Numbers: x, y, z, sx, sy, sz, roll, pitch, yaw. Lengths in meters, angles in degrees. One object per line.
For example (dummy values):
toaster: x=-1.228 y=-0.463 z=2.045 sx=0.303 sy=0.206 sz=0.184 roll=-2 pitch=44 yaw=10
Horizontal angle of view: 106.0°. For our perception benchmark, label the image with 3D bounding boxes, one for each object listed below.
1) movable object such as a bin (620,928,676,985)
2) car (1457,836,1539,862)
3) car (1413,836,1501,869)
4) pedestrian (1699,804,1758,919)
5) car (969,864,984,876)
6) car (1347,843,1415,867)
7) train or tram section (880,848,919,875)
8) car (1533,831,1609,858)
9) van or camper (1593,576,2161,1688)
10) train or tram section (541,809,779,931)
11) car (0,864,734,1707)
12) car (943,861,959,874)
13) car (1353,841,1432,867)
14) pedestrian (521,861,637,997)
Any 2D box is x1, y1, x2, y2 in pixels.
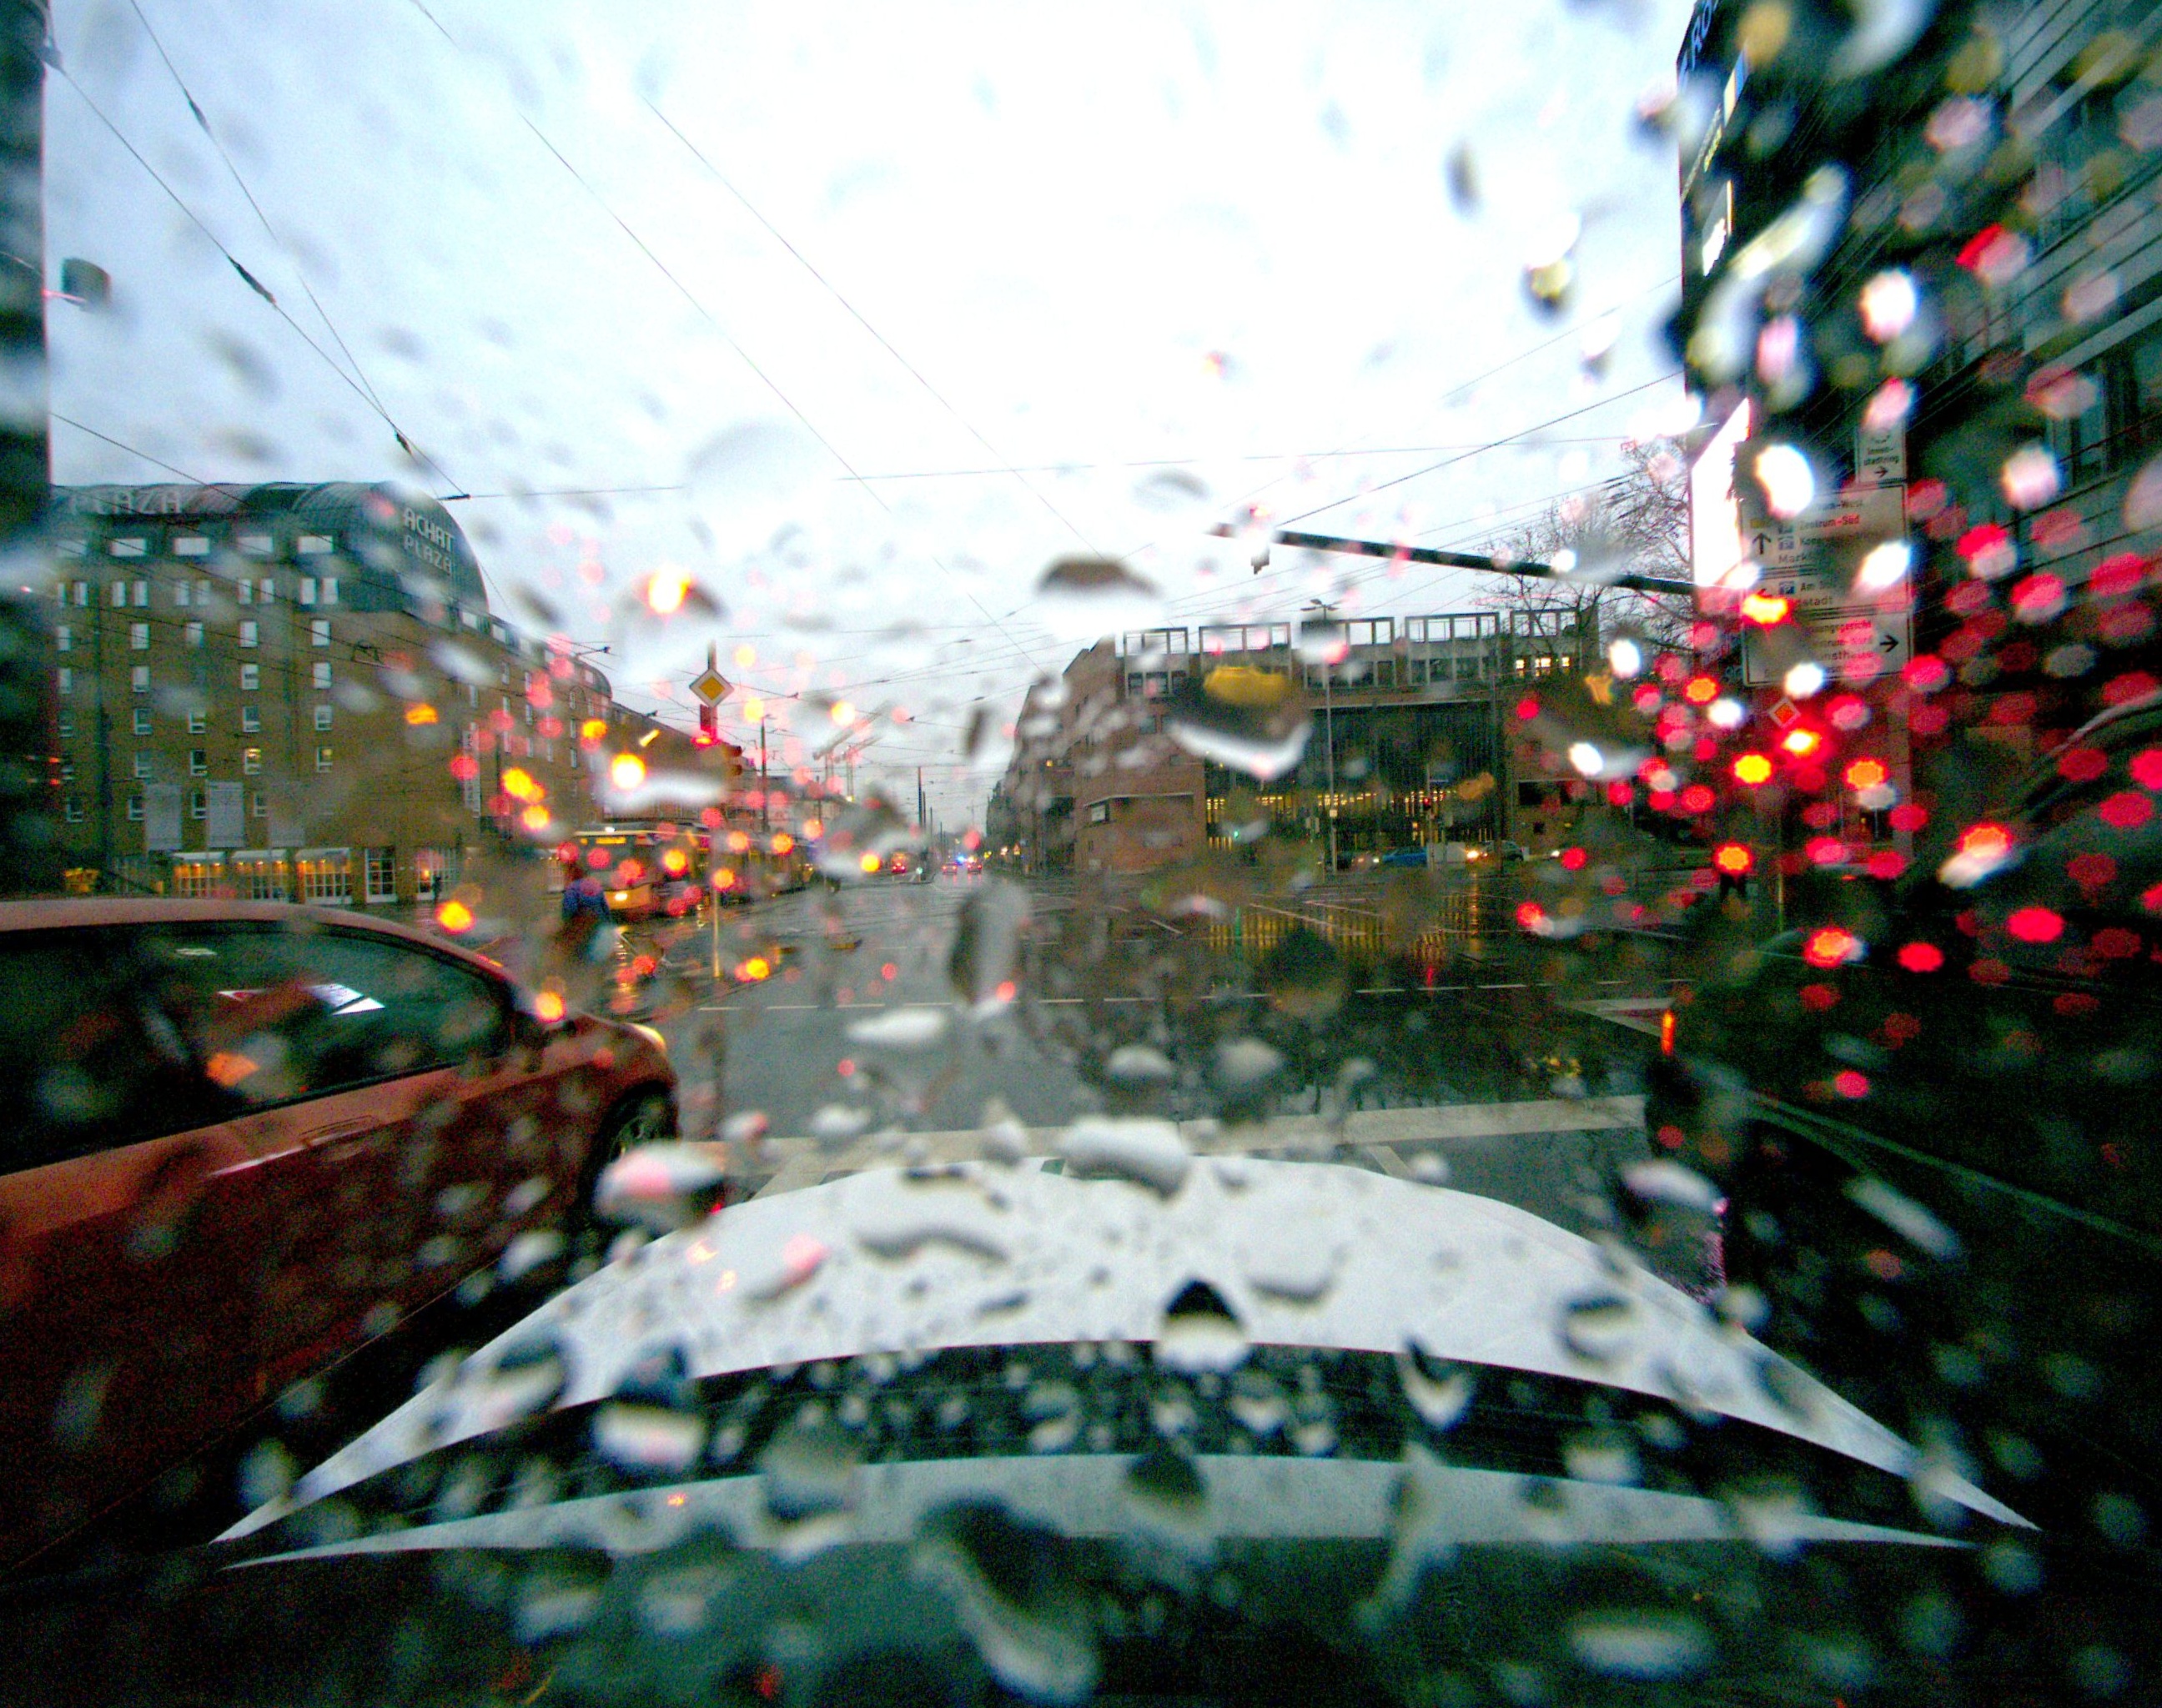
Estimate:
movable object such as a bin: x=-5.878 y=1.381 z=11.055 sx=0.407 sy=0.699 sz=0.541 roll=-5 pitch=-2 yaw=42
car: x=24.834 y=-0.315 z=48.582 sx=3.979 sy=1.288 sz=1.845 roll=-2 pitch=4 yaw=-4
car: x=20.449 y=-0.108 z=44.396 sx=3.979 sy=1.504 sz=1.845 roll=-2 pitch=4 yaw=-4
pedestrian: x=12.589 y=0.140 z=15.848 sx=0.574 sy=2.184 sz=0.619 roll=-1 pitch=-1 yaw=-4
car: x=-14.107 y=2.188 z=109.936 sx=1.868 sy=1.579 sz=3.991 roll=0 pitch=0 yaw=-6
car: x=19.158 y=0.059 z=52.097 sx=3.713 sy=1.263 sz=1.845 roll=-2 pitch=4 yaw=-4
train or tram section: x=-26.597 y=1.067 z=120.688 sx=3.189 sy=3.436 sz=27.753 roll=-2 pitch=0 yaw=-8
car: x=32.172 y=-0.650 z=53.580 sx=3.979 sy=1.504 sz=1.845 roll=-2 pitch=4 yaw=-4
van or camper: x=2.703 y=0.472 z=0.780 sx=1.750 sy=1.906 sz=4.420 roll=-1 pitch=0 yaw=2
train or tram section: x=-16.567 y=0.567 z=34.904 sx=2.864 sy=3.614 sz=20.005 roll=-2 pitch=0 yaw=-9
car: x=-2.698 y=0.809 z=2.253 sx=1.691 sy=1.459 sz=3.759 roll=-2 pitch=0 yaw=2
car: x=-16.471 y=1.679 z=103.099 sx=1.869 sy=1.579 sz=3.989 roll=0 pitch=0 yaw=-8
car: x=18.327 y=-0.040 z=48.028 sx=3.979 sy=1.263 sz=1.845 roll=-2 pitch=4 yaw=-4
pedestrian: x=-6.422 y=0.928 z=10.435 sx=0.707 sy=1.601 sz=1.043 roll=-5 pitch=-1 yaw=43
